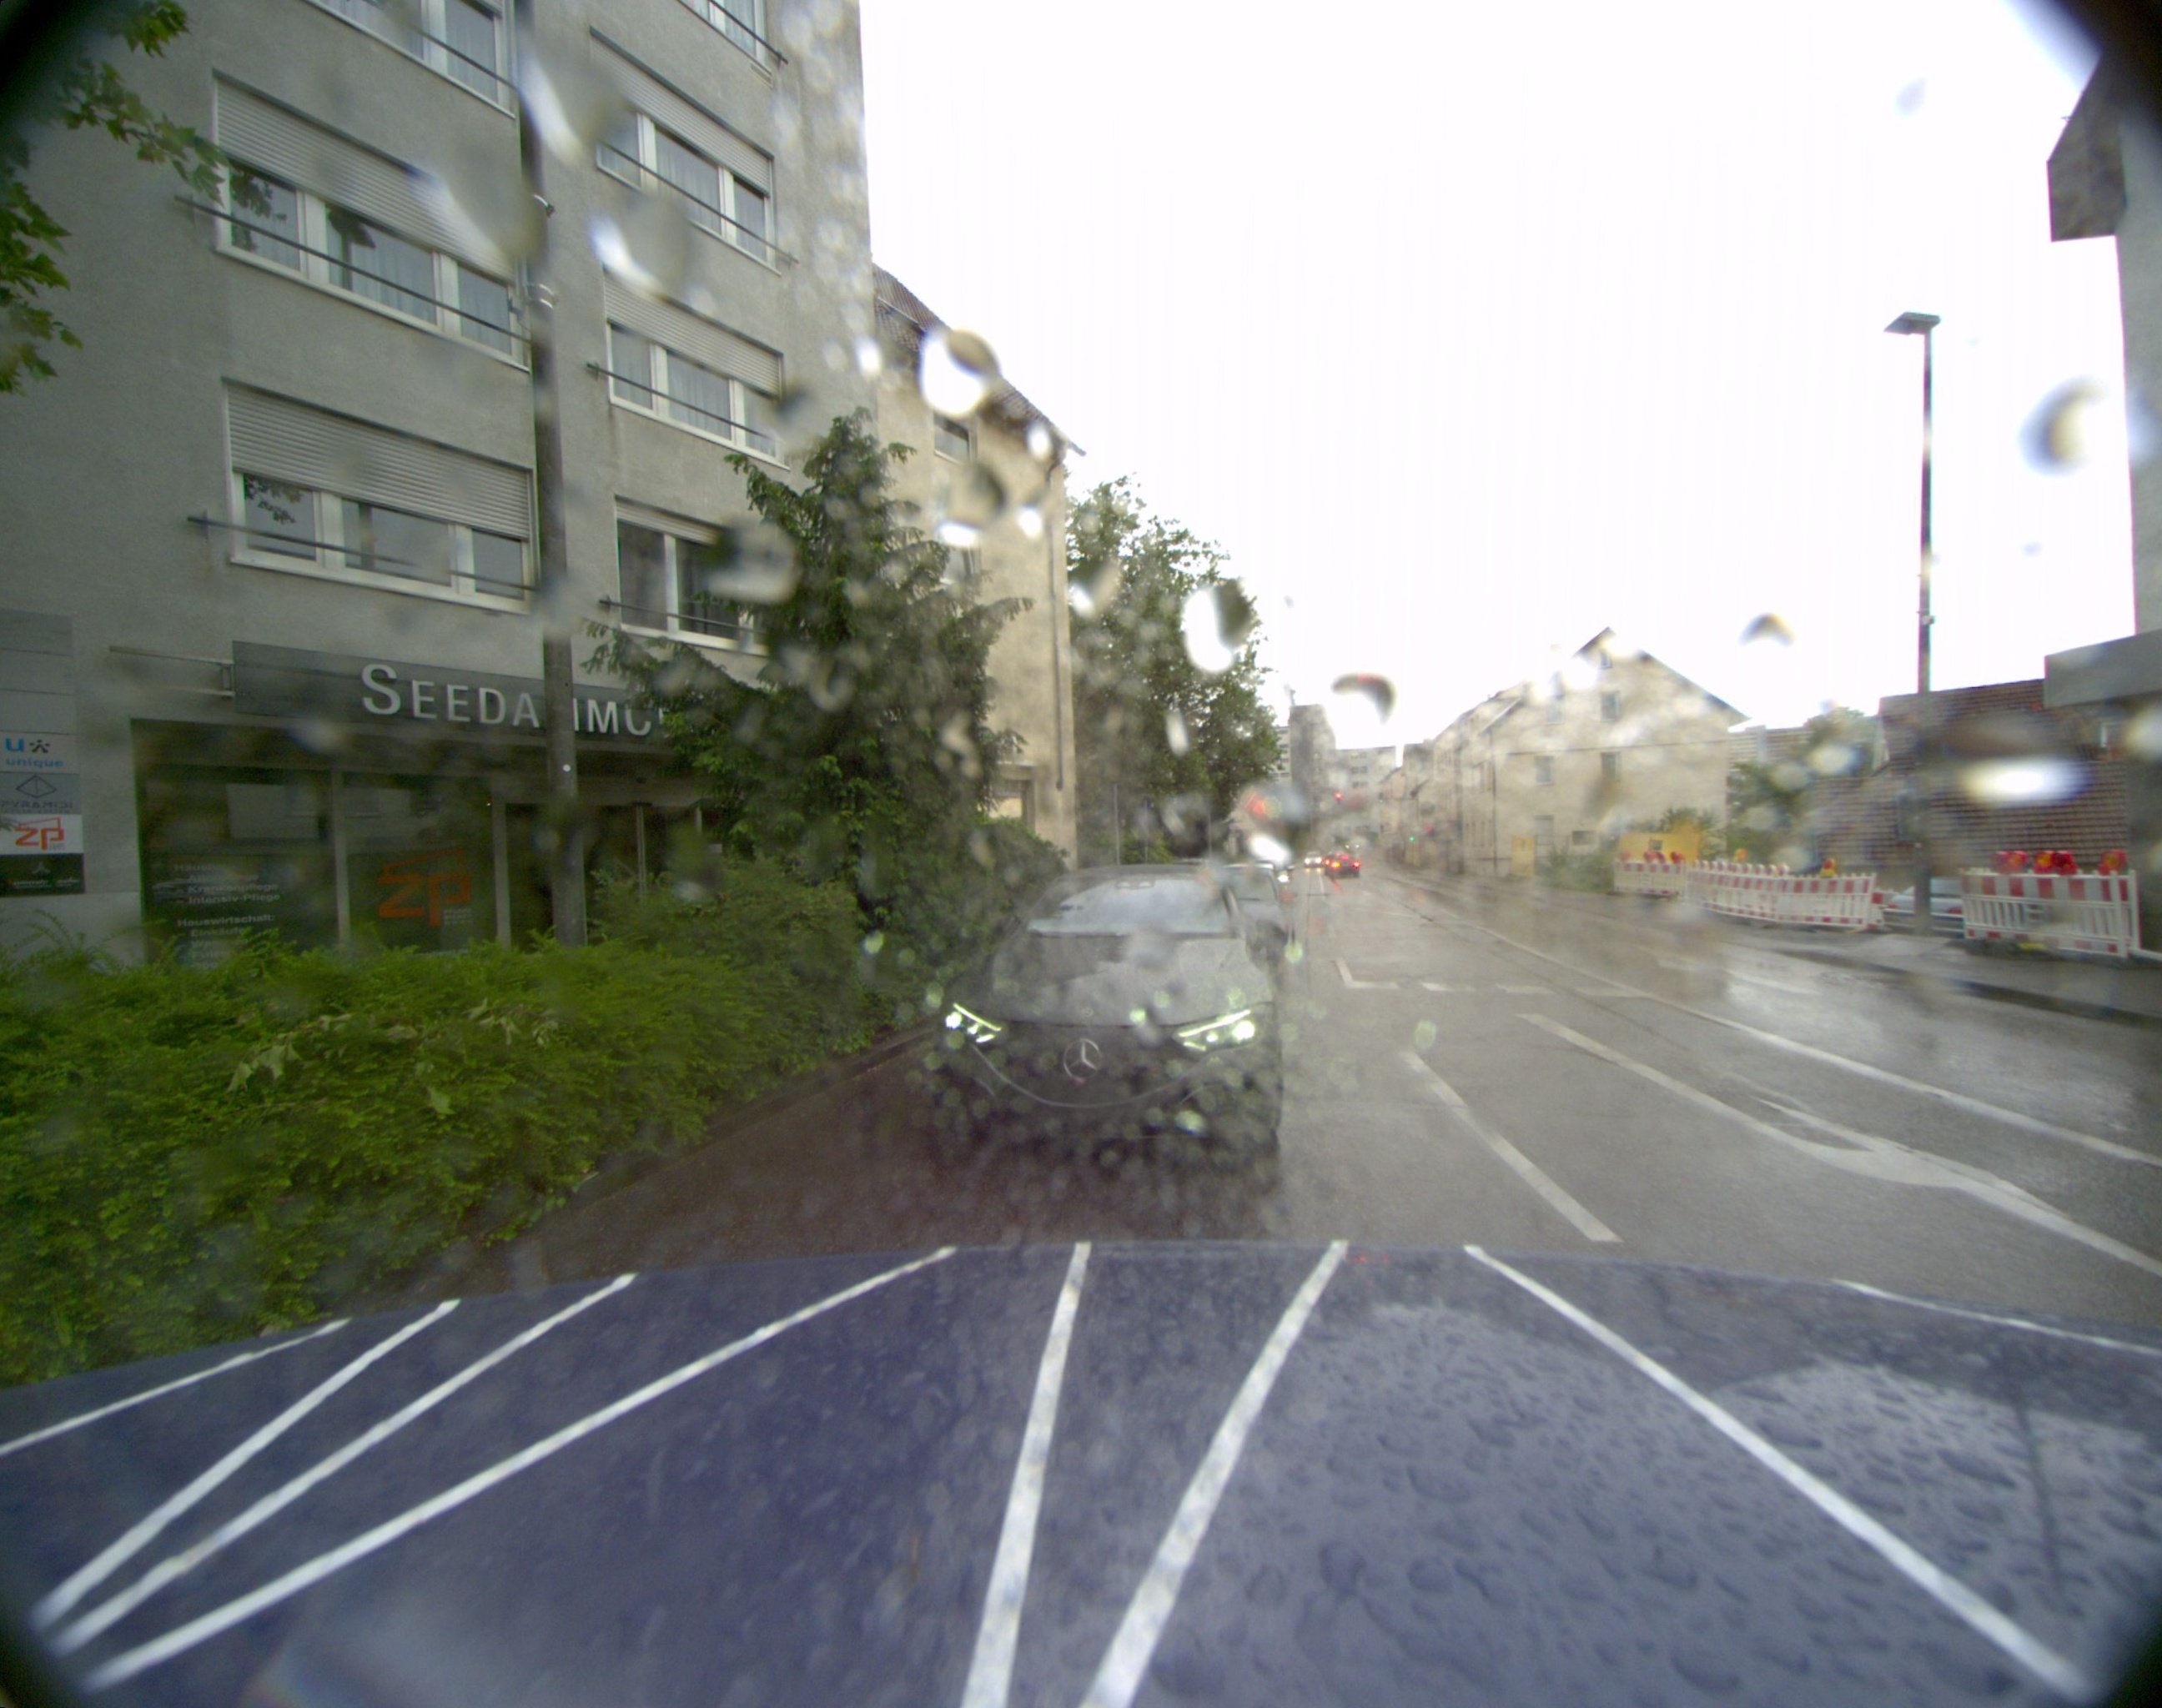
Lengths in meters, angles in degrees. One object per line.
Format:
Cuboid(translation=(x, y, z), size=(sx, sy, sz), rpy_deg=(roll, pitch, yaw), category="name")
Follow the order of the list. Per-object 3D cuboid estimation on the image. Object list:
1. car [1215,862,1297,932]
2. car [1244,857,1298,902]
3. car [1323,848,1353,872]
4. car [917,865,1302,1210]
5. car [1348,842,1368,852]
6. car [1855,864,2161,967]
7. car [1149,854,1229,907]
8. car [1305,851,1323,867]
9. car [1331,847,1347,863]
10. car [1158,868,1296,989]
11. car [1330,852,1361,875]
Cuboid(translation=(4.296, 0.961, 18.466), size=(1.685, 1.413, 4.004), rpy_deg=(-2, 0, 14), category="car")
Cuboid(translation=(7.122, 0.897, 28.234), size=(1.684, 1.452, 4.005), rpy_deg=(-2, 0, 17), category="car")
Cuboid(translation=(18.864, 0.466, 55.936), size=(1.818, 1.635, 4.281), rpy_deg=(-2, -1, 16), category="car")
Cuboid(translation=(0.520, 0.912, 5.770), size=(1.819, 1.562, 4.280), rpy_deg=(-3, -1, 11), category="car")
Cuboid(translation=(42.752, -1.085, 117.238), size=(1.789, 1.555, 3.843), rpy_deg=(-2, 0, 38), category="car")
Cuboid(translation=(16.455, 1.046, 13.444), size=(3.505, 1.382, 1.653), rpy_deg=(6, -1, 8), category="car")
Cuboid(translation=(4.053, 0.889, 27.821), size=(1.933, 1.770, 4.740), rpy_deg=(-1, 0, 20), category="car")
Cuboid(translation=(23.716, 0.505, 77.213), size=(1.613, 1.495, 3.722), rpy_deg=(-3, 0, 17), category="car")
Cuboid(translation=(33.229, 0.110, 97.821), size=(1.791, 1.841, 3.840), rpy_deg=(-2, 0, 17), category="car")
Cuboid(translation=(2.352, 0.967, 11.481), size=(1.639, 1.424, 3.810), rpy_deg=(-1, 0, 17), category="car")
Cuboid(translation=(17.235, 0.610, 49.661), size=(1.709, 1.375, 3.674), rpy_deg=(-2, 0, 16), category="car")
